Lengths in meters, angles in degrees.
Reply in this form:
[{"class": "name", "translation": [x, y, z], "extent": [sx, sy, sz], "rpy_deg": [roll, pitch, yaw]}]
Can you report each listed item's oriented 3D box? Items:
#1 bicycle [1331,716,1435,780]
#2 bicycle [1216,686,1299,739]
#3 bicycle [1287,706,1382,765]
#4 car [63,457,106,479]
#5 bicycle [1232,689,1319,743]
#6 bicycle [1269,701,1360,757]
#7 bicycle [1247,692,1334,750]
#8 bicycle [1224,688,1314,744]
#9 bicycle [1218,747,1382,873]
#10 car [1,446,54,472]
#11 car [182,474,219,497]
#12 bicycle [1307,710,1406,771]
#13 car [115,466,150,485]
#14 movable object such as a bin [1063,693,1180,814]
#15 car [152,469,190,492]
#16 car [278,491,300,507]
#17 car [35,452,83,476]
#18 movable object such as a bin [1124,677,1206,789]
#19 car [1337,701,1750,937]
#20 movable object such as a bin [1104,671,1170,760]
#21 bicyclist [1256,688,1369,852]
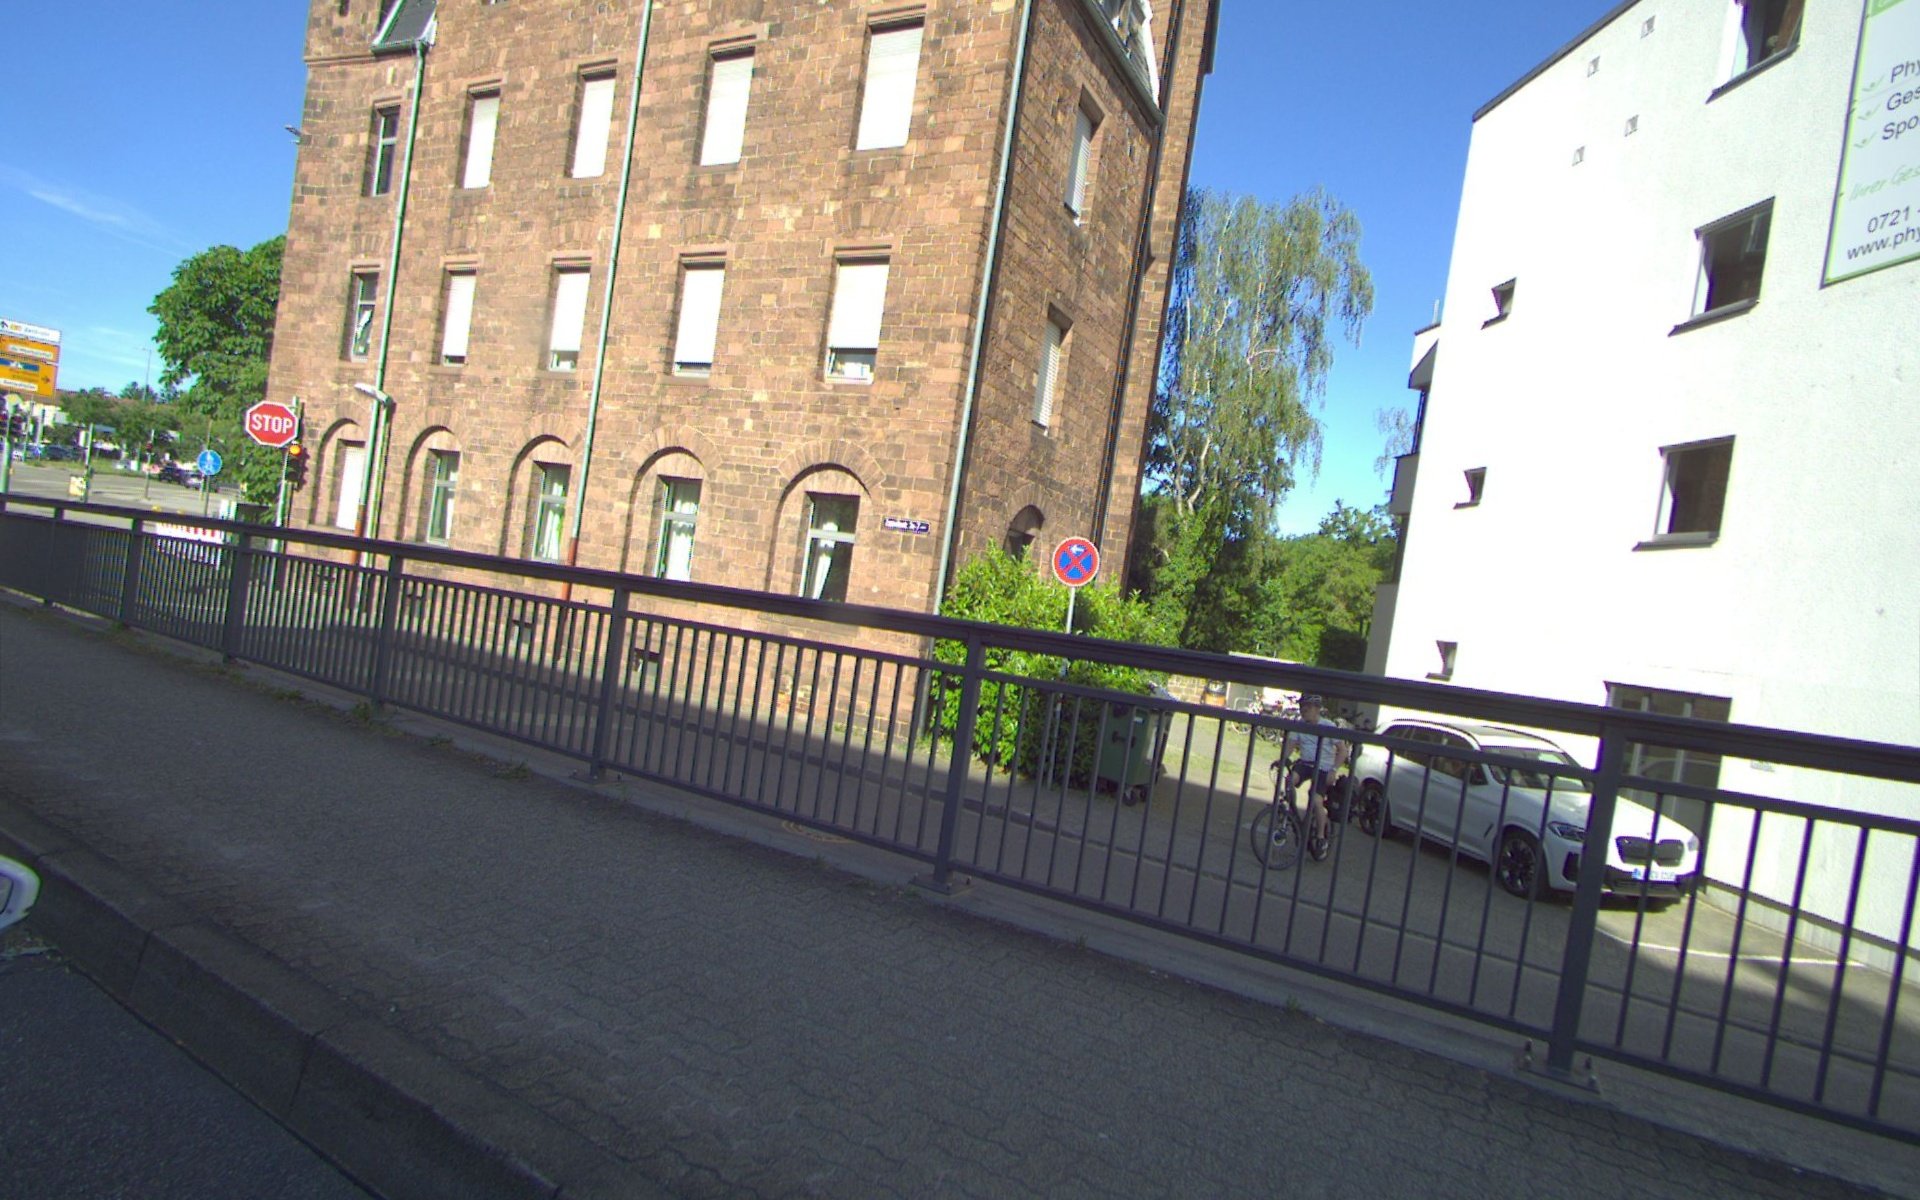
[{"class": "bicycle", "translation": [9.186, 3.220, 21.895], "extent": [1.889, 1.065, 0.664], "rpy_deg": [8, 1, -6]}, {"class": "bicycle", "translation": [8.484, 3.202, 28.706], "extent": [2.075, 1.174, 0.664], "rpy_deg": [8, 1, -9]}, {"class": "bicycle", "translation": [8.817, 3.191, 23.695], "extent": [1.889, 1.065, 0.664], "rpy_deg": [8, 1, -6]}, {"class": "car", "translation": [-84.933, -12.763, 97.651], "extent": [1.860, 1.598, 3.977], "rpy_deg": [8, 1, -22]}, {"class": "bicycle", "translation": [8.732, 3.203, 27.855], "extent": [2.075, 1.174, 0.664], "rpy_deg": [8, 1, -9]}, {"class": "bicycle", "translation": [8.708, 3.157, 24.722], "extent": [1.889, 1.065, 0.664], "rpy_deg": [8, 1, -6]}, {"class": "bicycle", "translation": [8.501, 3.097, 25.888], "extent": [1.889, 1.174, 0.664], "rpy_deg": [8, 1, -6]}, {"class": "bicycle", "translation": [8.235, 3.097, 26.820], "extent": [2.075, 1.174, 0.664], "rpy_deg": [8, 1, -9]}, {"class": "bicycle", "translation": [3.725, 2.280, 10.952], "extent": [1.826, 1.154, 0.682], "rpy_deg": [10, -1, -39]}, {"class": "car", "translation": [-79.319, -11.963, 85.621], "extent": [1.860, 1.598, 3.977], "rpy_deg": [8, 1, -22]}, {"class": "car", "translation": [-67.526, -10.157, 89.511], "extent": [1.724, 1.515, 3.975], "rpy_deg": [7, -1, -26]}, {"class": "bicycle", "translation": [8.977, 3.174, 22.808], "extent": [1.889, 1.065, 0.664], "rpy_deg": [8, 1, -6]}, {"class": "car", "translation": [-94.458, -14.224, 114.917], "extent": [1.860, 1.598, 3.977], "rpy_deg": [8, 1, -22]}, {"class": "movable object such as a bin", "translation": [2.088, 1.939, 12.927], "extent": [1.011, 1.307, 1.005], "rpy_deg": [10, 0, 29]}, {"class": "car", "translation": [-74.557, -11.292, 95.141], "extent": [1.869, 1.565, 3.975], "rpy_deg": [8, -2, -26]}, {"class": "car", "translation": [-78.064, -11.773, 117.005], "extent": [1.982, 1.382, 4.272], "rpy_deg": [8, 2, -34]}, {"class": "car", "translation": [-81.764, -12.343, 91.310], "extent": [1.860, 1.598, 3.977], "rpy_deg": [8, 1, -22]}, {"class": "movable object such as a bin", "translation": [3.282, 2.099, 16.076], "extent": [1.009, 1.539, 1.007], "rpy_deg": [10, 0, 14]}, {"class": "car", "translation": [6.865, 2.501, 12.582], "extent": [1.814, 1.707, 4.521], "rpy_deg": [8, 0, -10]}, {"class": "movable object such as a bin", "translation": [3.509, 2.258, 19.873], "extent": [1.009, 1.539, 1.007], "rpy_deg": [10, 0, 14]}, {"class": "bicyclist", "translation": [3.851, 1.847, 10.998], "extent": [0.691, 1.627, 0.680], "rpy_deg": [9, 0, -38]}]
